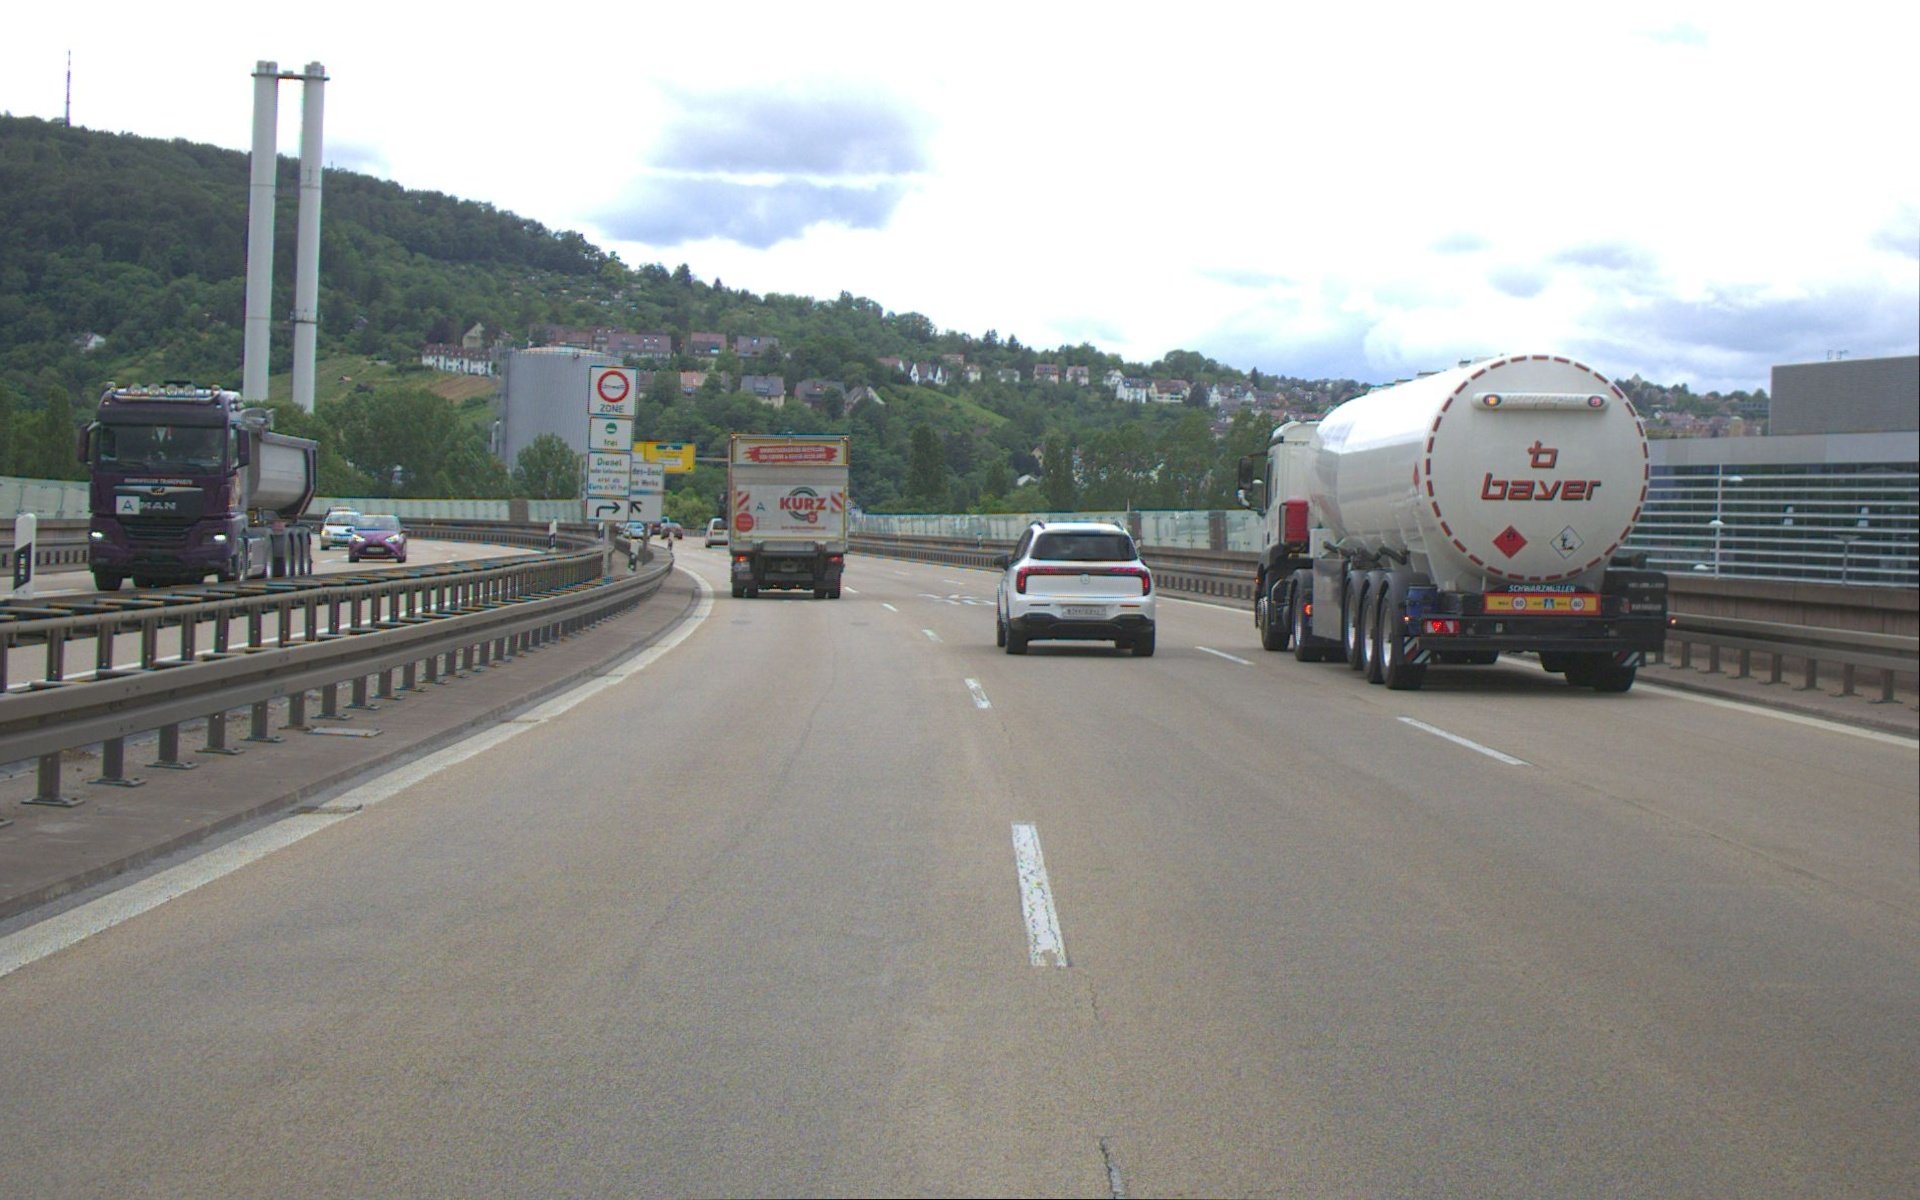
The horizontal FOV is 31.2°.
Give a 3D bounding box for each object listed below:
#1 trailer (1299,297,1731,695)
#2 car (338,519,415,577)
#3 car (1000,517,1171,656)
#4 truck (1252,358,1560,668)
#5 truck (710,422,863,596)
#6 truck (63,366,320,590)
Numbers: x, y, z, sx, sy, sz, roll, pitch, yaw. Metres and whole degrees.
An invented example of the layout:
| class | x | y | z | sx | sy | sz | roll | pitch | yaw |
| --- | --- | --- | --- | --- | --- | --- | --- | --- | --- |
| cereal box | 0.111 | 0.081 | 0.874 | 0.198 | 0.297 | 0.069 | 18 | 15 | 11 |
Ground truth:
| class | x | y | z | sx | sy | sz | roll | pitch | yaw |
| --- | --- | --- | --- | --- | --- | --- | --- | --- | --- |
| trailer | 5.757 | -1.045 | 37.271 | 3.057 | 3.777 | 8.304 | 1 | 1 | -2 |
| car | -17.690 | -1.563 | 104.366 | 1.993 | 1.669 | 4.409 | 1 | 0 | -6 |
| car | 1.562 | -0.182 | 44.294 | 1.993 | 1.669 | 4.408 | 1 | 0 | 0 |
| truck | 5.587 | -1.061 | 44.177 | 3.014 | 3.644 | 6.273 | 1 | 0 | -1 |
| truck | -3.833 | -1.989 | 77.659 | 3.057 | 3.678 | 8.304 | 1 | 1 | -1 |
| truck | -14.287 | -2.159 | 64.904 | 2.810 | 3.796 | 12.021 | 1 | 1 | -4 |
